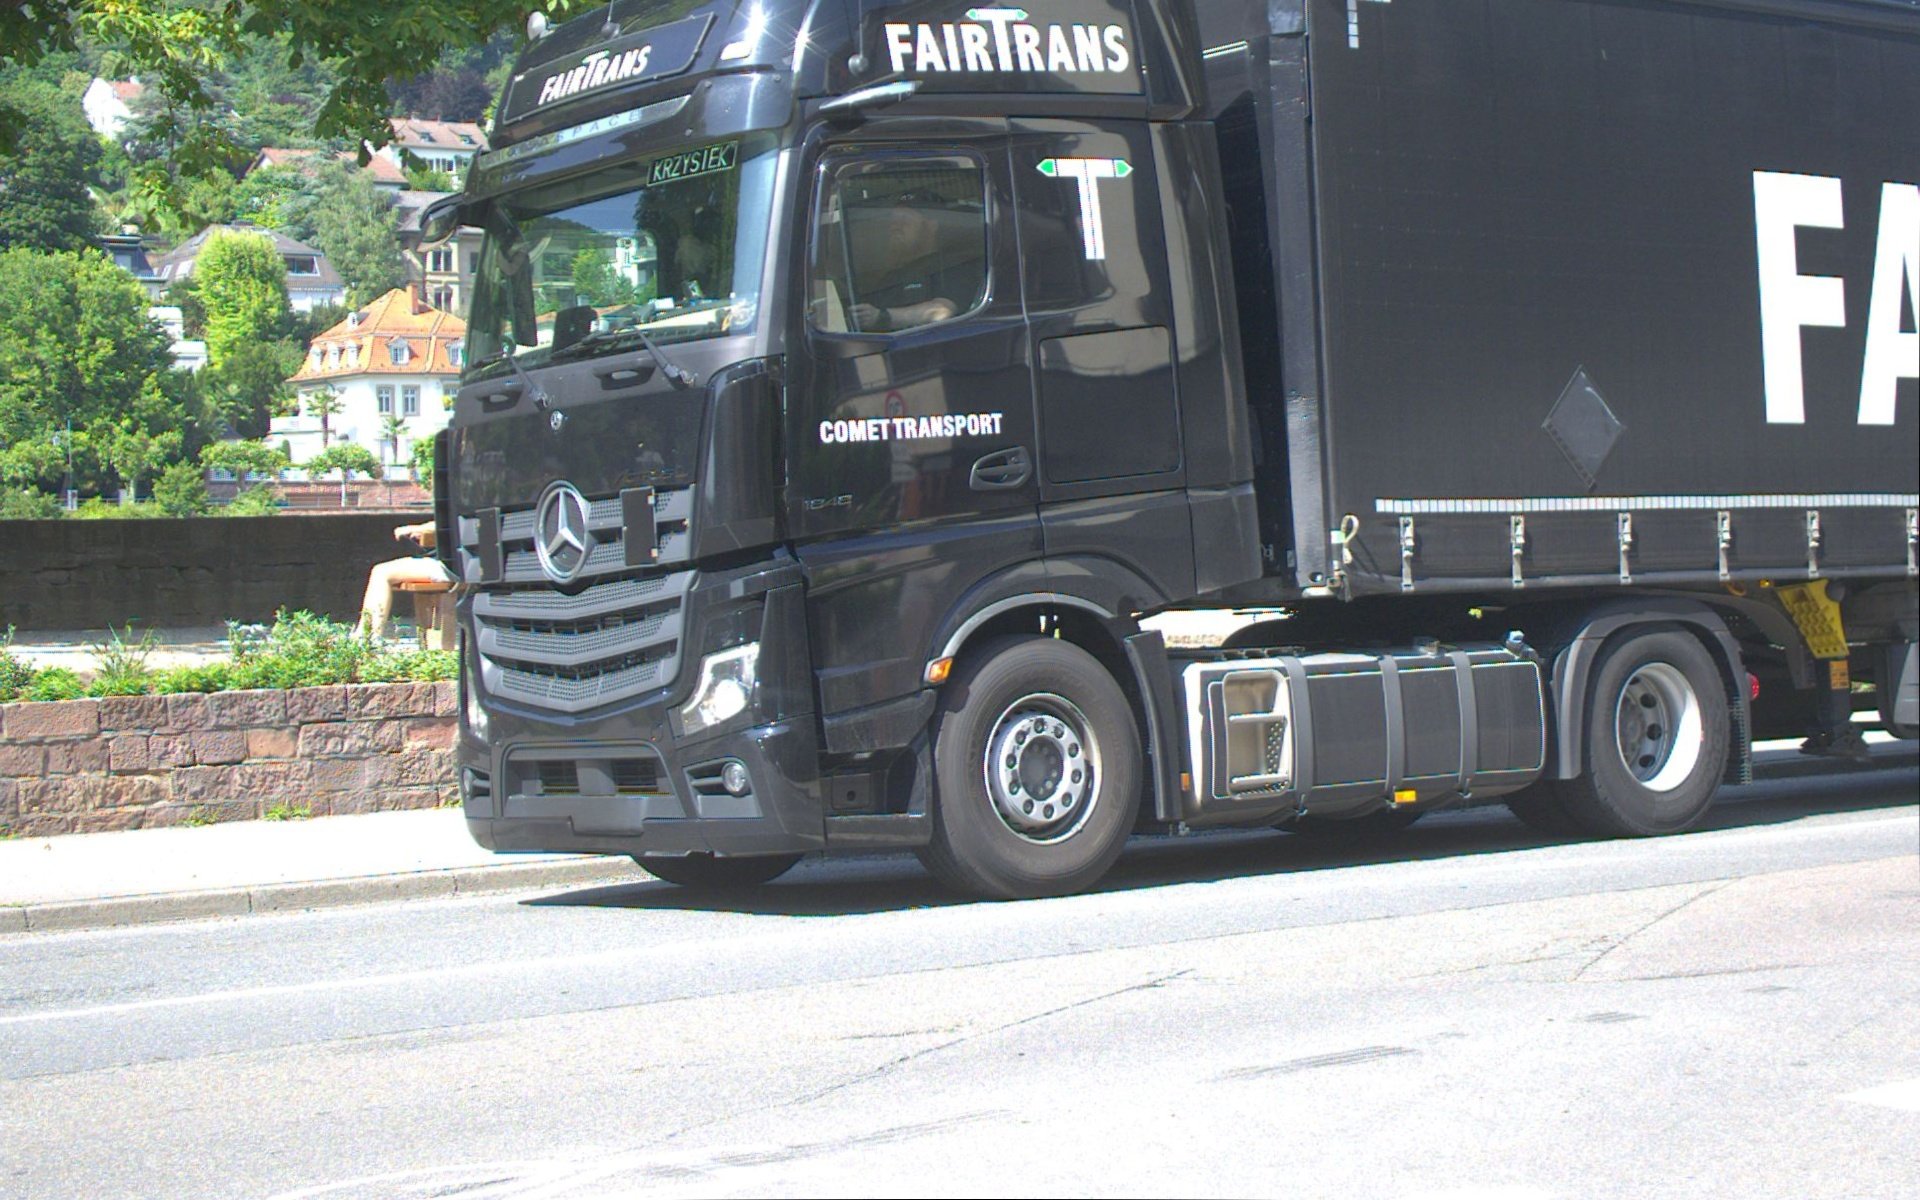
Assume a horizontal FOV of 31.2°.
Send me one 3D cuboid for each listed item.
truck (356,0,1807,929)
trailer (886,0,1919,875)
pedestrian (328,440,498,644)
[{"bbox_3d":[0.689,-0.878,15.375,5.915,4.057,2.838,-2,-1,-39],"label":"truck"},{"bbox_3d":[5.968,-1.054,19.618,13.731,4.090,2.841,-2,-1,-39],"label":"trailer"},{"bbox_3d":[-3.398,-0.345,21.332,0.798,1.207,0.715,1,-4,-34],"label":"pedestrian"}]
